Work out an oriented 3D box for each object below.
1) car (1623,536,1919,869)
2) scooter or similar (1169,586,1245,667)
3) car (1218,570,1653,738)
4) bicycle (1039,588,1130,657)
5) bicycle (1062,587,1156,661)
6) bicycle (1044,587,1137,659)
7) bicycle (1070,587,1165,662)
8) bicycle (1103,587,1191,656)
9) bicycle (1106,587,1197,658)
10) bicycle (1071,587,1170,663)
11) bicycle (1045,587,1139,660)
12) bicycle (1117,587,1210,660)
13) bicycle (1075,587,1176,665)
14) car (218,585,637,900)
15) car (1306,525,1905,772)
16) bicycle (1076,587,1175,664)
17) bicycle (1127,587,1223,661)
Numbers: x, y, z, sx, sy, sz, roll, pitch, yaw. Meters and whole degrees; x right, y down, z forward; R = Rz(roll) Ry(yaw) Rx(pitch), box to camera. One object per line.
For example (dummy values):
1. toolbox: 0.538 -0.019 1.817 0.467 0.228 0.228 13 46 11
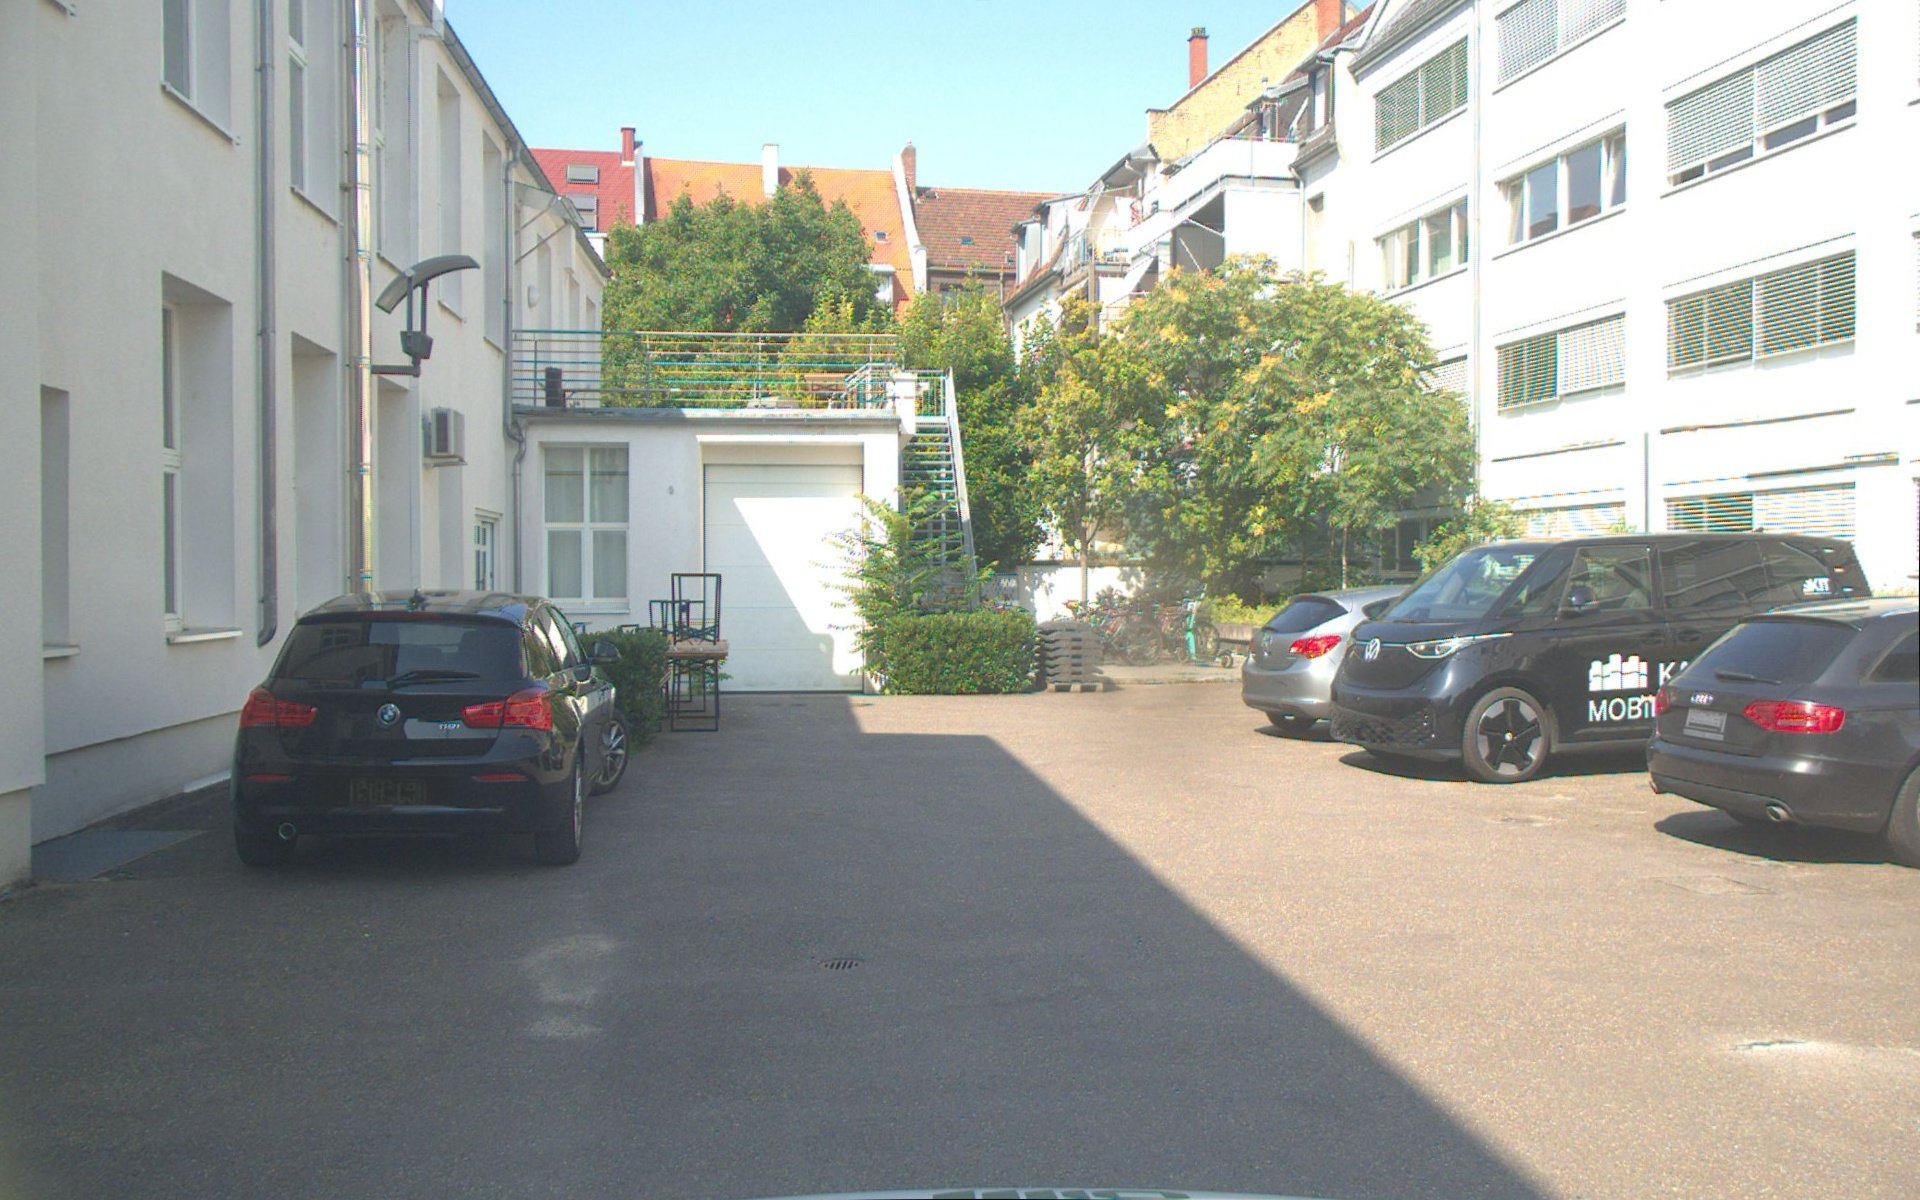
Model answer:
1. car: 6.246 0.521 9.723 4.040 1.721 1.768 0 0 -9
2. scooter or similar: 4.042 0.420 27.103 0.375 1.283 1.331 -2 1 -37
3. car: 4.756 0.496 16.688 3.867 1.508 1.768 -1 0 -15
4. bicycle: 2.298 0.407 30.531 1.594 1.235 0.423 -1 0 -11
5. bicycle: 2.582 0.412 28.638 1.588 1.235 0.327 -1 0 7
6. bicycle: 2.359 0.409 29.932 1.594 1.235 0.423 -1 0 -11
7. bicycle: 2.692 0.413 28.283 1.589 1.235 0.327 -1 0 4
8. bicycle: 3.474 0.404 30.735 1.588 1.235 0.424 -1 0 7
9. bicycle: 3.430 0.408 29.700 1.588 1.235 0.424 -1 0 7
10. bicycle: 2.699 0.414 27.831 1.591 1.235 0.326 -1 0 -4
11. bicycle: 2.335 0.411 29.293 1.592 1.235 0.423 -1 0 -7
12. bicycle: 3.581 0.409 29.136 1.588 1.235 0.424 -1 0 7
13. bicycle: 2.720 0.416 27.216 1.591 1.235 0.326 -1 0 -4
14. car: -2.915 0.664 9.858 1.656 1.484 3.917 0 0 -7
15. car: 5.348 0.340 13.851 4.425 1.826 1.876 -1 0 -15
16. bicycle: 2.755 0.415 27.542 1.591 1.235 0.326 -1 0 -4
17. bicycle: 3.681 0.411 28.283 1.588 1.235 0.327 -1 0 9
